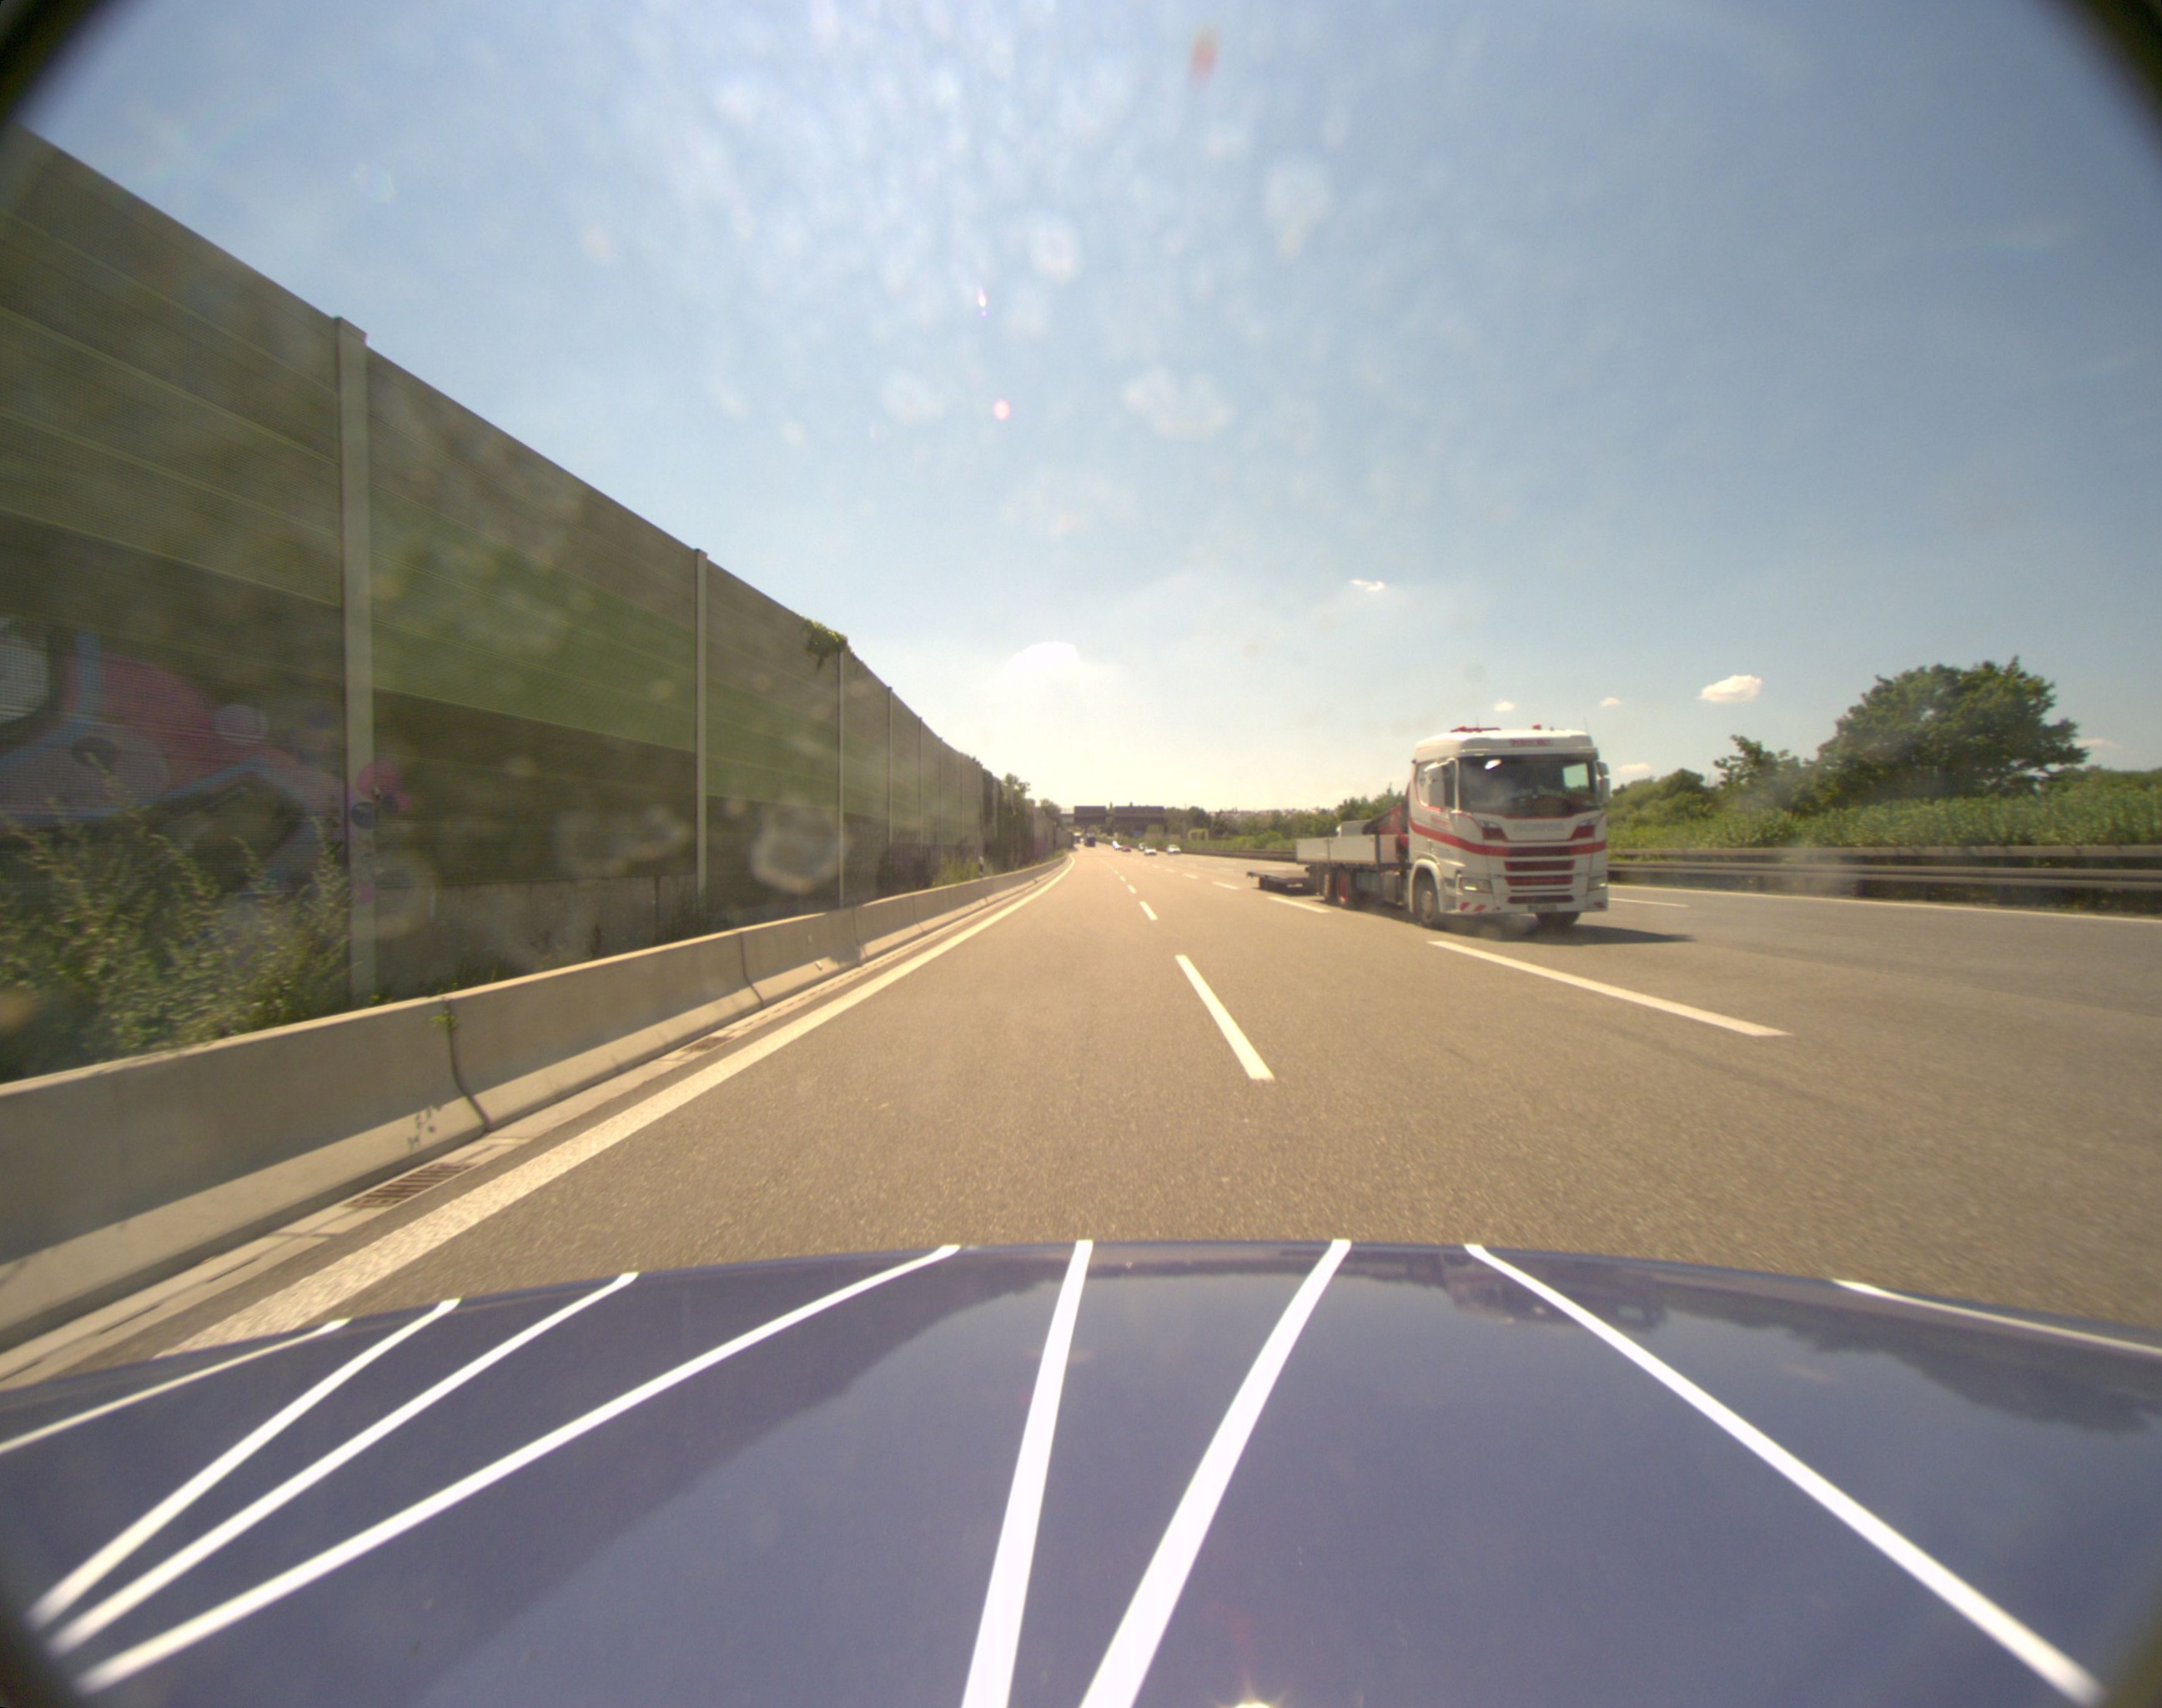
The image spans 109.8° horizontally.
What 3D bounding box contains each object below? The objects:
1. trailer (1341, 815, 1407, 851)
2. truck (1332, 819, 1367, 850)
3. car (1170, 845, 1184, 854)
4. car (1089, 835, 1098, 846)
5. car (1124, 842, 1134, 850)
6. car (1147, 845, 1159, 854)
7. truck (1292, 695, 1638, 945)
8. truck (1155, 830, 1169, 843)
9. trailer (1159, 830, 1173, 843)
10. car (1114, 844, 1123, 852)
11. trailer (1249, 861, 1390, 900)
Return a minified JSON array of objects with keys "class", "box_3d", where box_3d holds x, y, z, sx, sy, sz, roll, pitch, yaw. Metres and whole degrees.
[{"class":"trailer","box_3d":[35.110,-2.413,91.784,2.544,3.924,13.718,-2,1,0]},{"class":"truck","box_3d":[35.027,-2.495,99.215,2.544,3.925,5.165,-2,1,-1]},{"class":"car","box_3d":[16.357,-0.780,129.449,1.883,1.543,4.001,-2,0,2]},{"class":"car","box_3d":[3.872,-4.226,239.769,2.116,3.284,6.442,-2,0,-4]},{"class":"car","box_3d":[10.750,-1.795,169.977,1.998,1.832,4.000,-2,0,2]},{"class":"car","box_3d":[12.193,-0.725,129.040,1.786,1.494,4.171,-1,0,1]},{"class":"truck","box_3d":[7.409,-0.561,17.079,2.721,3.780,10.672,-2,1,2]},{"class":"truck","box_3d":[26.255,-5.679,247.197,3.009,3.945,10.317,-2,1,-2]},{"class":"trailer","box_3d":[26.556,-5.451,237.654,2.931,3.945,8.655,-2,1,-2]},{"class":"car","box_3d":[9.528,-1.563,192.103,1.998,1.832,4.000,-2,0,2]},{"class":"trailer","box_3d":[7.865,0.810,26.263,2.721,0.929,7.760,-2,1,2]}]
